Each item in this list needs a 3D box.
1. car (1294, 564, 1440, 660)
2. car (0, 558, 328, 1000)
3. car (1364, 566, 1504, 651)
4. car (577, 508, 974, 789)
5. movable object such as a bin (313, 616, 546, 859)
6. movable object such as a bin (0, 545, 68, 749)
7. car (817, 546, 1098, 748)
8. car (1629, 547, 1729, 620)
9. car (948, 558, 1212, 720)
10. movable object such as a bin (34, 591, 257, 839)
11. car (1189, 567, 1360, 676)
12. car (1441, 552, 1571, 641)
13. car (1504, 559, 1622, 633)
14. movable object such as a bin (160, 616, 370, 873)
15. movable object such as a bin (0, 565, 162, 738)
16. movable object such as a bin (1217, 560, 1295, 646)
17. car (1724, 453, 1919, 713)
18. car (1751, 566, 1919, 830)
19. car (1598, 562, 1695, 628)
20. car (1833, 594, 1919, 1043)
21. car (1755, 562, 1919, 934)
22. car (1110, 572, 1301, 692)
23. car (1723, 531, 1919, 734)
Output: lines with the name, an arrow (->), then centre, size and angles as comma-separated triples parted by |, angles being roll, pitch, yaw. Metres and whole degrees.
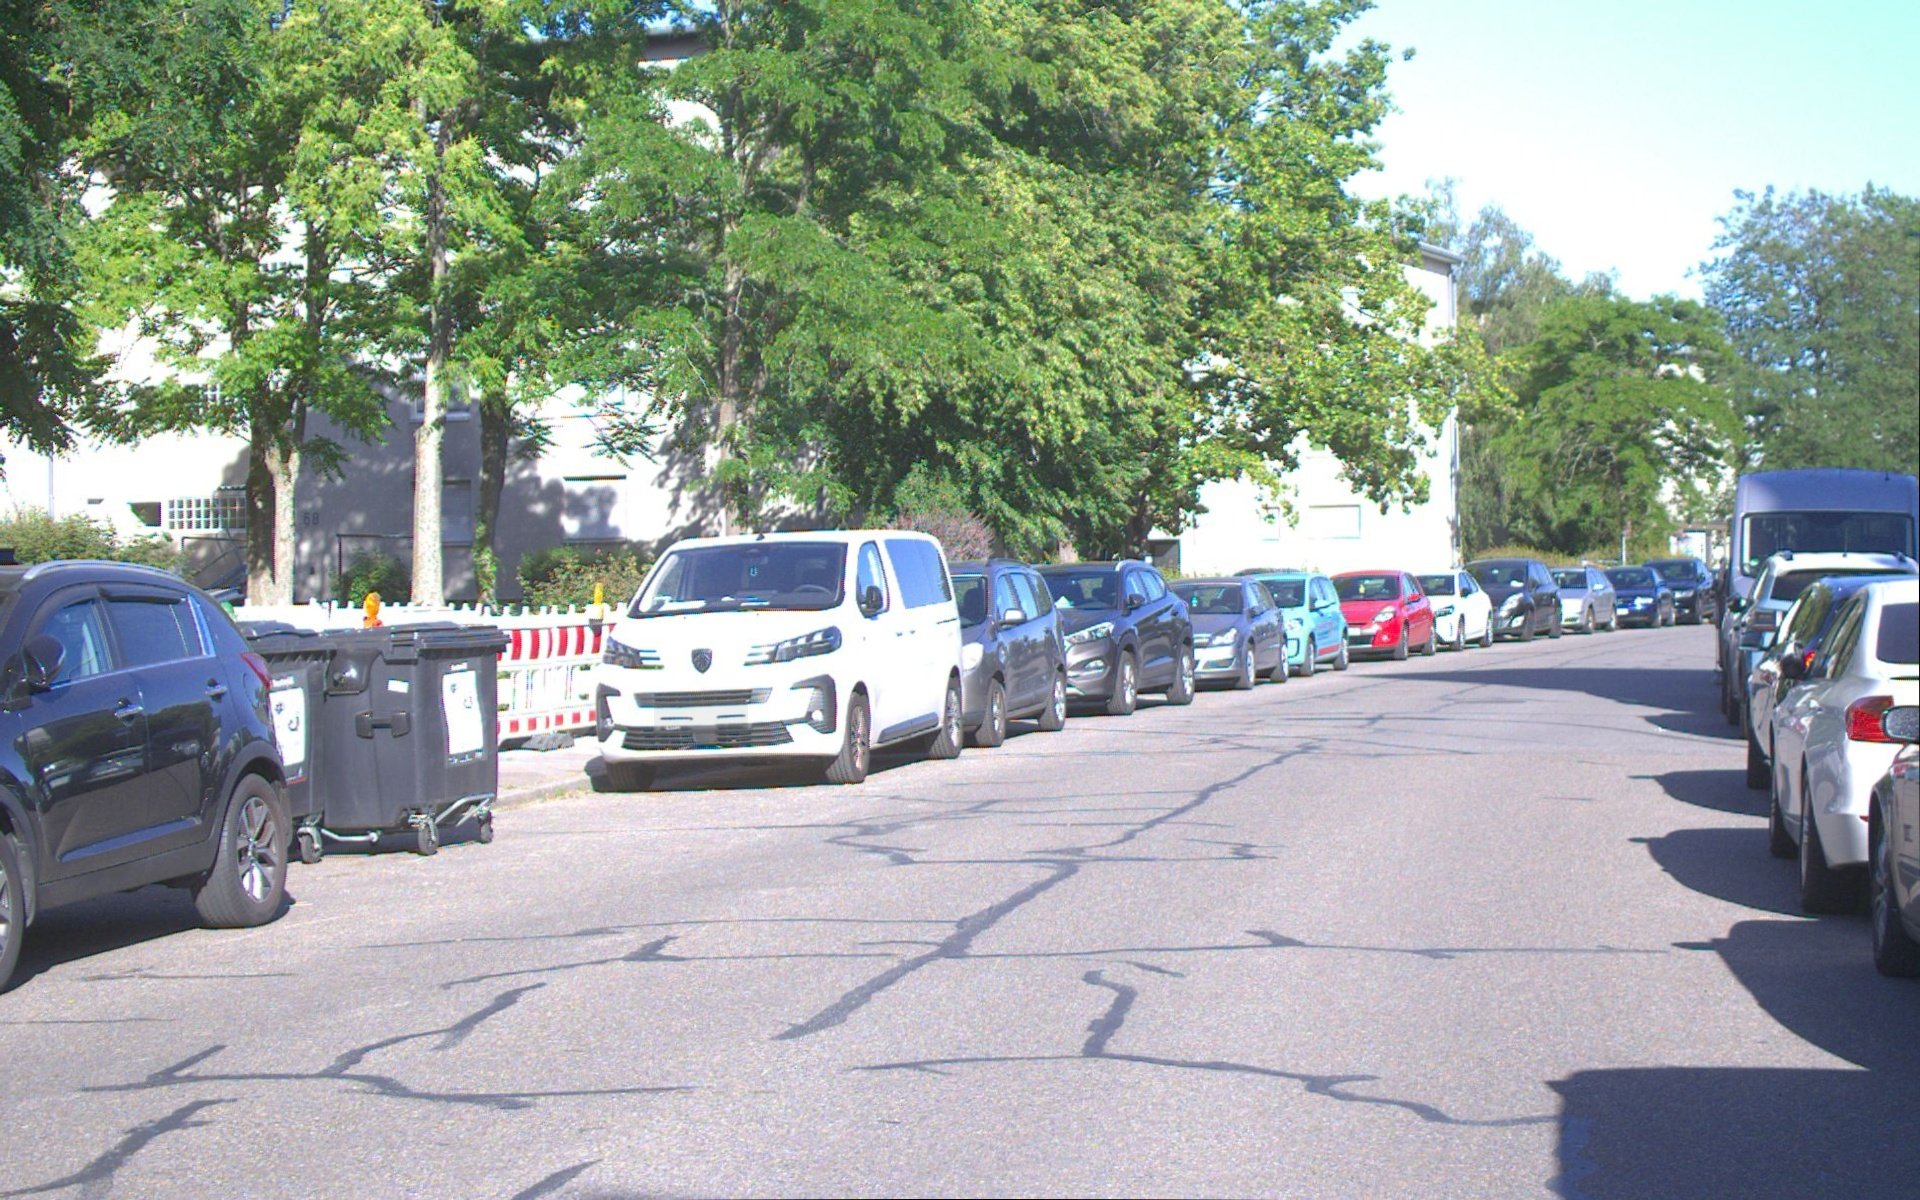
car -> 6.689, 0.171, 56.275 | 1.672, 1.469, 3.675 | -2, 0, 18
car -> -4.188, 0.681, 14.038 | 1.675, 1.633, 4.249 | -2, 0, 11
car -> 8.523, 0.133, 61.543 | 1.672, 1.416, 3.897 | -2, 0, 20
car -> -1.303, 0.314, 26.529 | 1.864, 1.954, 4.668 | -1, 1, 12
movable object such as a bin -> -3.048, 0.774, 19.871 | 0.804, 1.311, 1.320 | -1, 1, 18
movable object such as a bin -> -7.790, 0.360, 26.731 | 1.258, 1.546, 1.279 | -1, 0, 6
car -> 0.052, 0.377, 31.703 | 1.556, 1.716, 4.338 | -1, 1, 14
car -> 17.633, -0.414, 84.182 | 1.662, 1.682, 4.045 | -2, 0, 22
car -> 1.378, 0.381, 37.376 | 1.750, 1.612, 4.359 | -1, 1, 17
movable object such as a bin -> -4.723, 0.651, 19.989 | 1.061, 1.395, 0.894 | 0, 1, 2
car -> 4.590, 0.286, 49.731 | 1.672, 1.469, 3.675 | -2, 0, 18
car -> 10.795, -0.085, 67.791 | 1.672, 1.661, 4.402 | -2, 0, 20
car -> 12.973, -0.112, 73.855 | 1.662, 1.481, 4.048 | -2, 0, 22
movable object such as a bin -> -3.776, 0.768, 18.773 | 0.609, 1.335, 1.268 | -1, 0, 15
movable object such as a bin -> -7.503, 0.419, 28.581 | 1.276, 1.397, 1.262 | -1, 0, 10
movable object such as a bin -> 5.321, 0.052, 61.731 | 1.111, 1.493, 1.407 | -1, 1, 16
car -> 9.136, -0.194, 35.815 | 2.106, 2.478, 5.852 | 1, 1, 14
car -> 5.980, 0.530, 21.385 | 1.910, 1.483, 4.373 | -1, 0, 11
car -> 15.739, -0.131, 78.705 | 1.661, 1.422, 4.046 | -2, 0, 18
car -> 4.026, 0.694, 10.727 | 1.994, 1.412, 4.922 | -1, 0, 8
car -> 4.710, 0.567, 15.778 | 1.910, 1.483, 4.373 | -1, 0, 11
car -> 3.240, 0.384, 44.671 | 1.671, 1.432, 3.997 | -2, 0, 16
car -> 7.822, 0.251, 30.547 | 1.910, 1.661, 4.373 | -1, 0, 11
